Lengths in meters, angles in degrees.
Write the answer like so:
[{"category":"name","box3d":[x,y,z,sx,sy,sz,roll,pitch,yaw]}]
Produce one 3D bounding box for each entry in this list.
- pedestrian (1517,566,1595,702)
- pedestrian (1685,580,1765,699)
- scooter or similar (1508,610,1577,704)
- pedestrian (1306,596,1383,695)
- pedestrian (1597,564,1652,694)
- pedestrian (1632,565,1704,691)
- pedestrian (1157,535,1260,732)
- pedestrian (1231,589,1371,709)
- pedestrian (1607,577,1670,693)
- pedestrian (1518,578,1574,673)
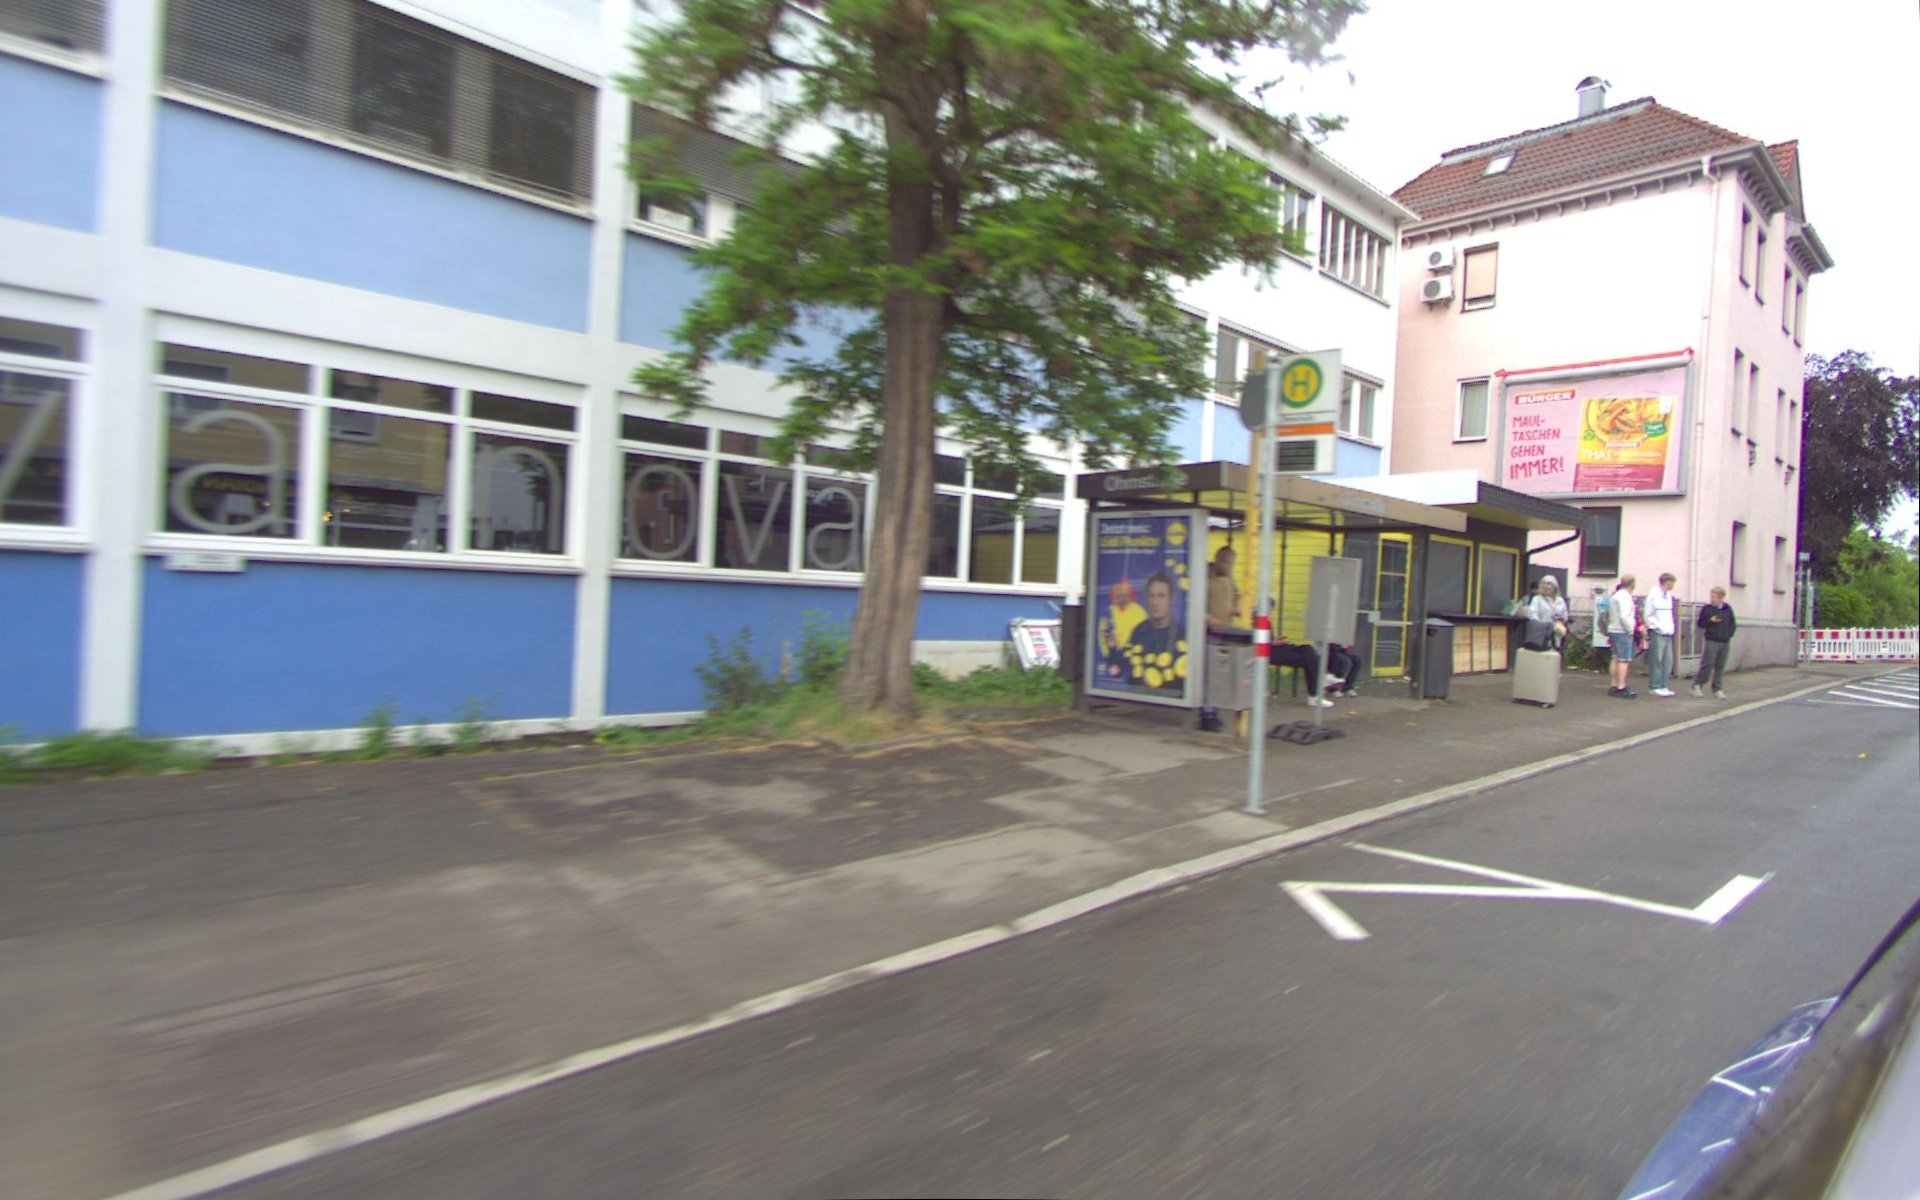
[{"category":"pedestrian","box3d":[8.125,0.445,13.791,0.660,1.762,0.816,4,2,44]},{"category":"pedestrian","box3d":[11.789,0.589,15.619,0.627,1.730,0.746,4,3,15]},{"category":"scooter or similar","box3d":[7.664,0.736,13.313,0.618,1.154,0.559,4,3,44]},{"category":"pedestrian","box3d":[5.045,0.575,13.282,0.660,1.213,0.730,4,2,44]},{"category":"pedestrian","box3d":[9.848,0.422,14.996,0.459,1.863,0.595,6,3,44]},{"category":"pedestrian","box3d":[10.987,0.423,15.720,0.619,1.897,0.489,3,3,-13]},{"category":"pedestrian","box3d":[2.471,0.303,10.055,0.647,1.854,0.730,4,2,44]},{"category":"pedestrian","box3d":[4.067,0.549,12.104,1.356,1.289,0.730,4,3,44]},{"category":"pedestrian","box3d":[10.400,0.533,15.526,0.545,1.728,0.449,2,3,-19]},{"category":"pedestrian","box3d":[10.651,0.442,18.414,0.667,1.645,0.620,4,3,21]}]
